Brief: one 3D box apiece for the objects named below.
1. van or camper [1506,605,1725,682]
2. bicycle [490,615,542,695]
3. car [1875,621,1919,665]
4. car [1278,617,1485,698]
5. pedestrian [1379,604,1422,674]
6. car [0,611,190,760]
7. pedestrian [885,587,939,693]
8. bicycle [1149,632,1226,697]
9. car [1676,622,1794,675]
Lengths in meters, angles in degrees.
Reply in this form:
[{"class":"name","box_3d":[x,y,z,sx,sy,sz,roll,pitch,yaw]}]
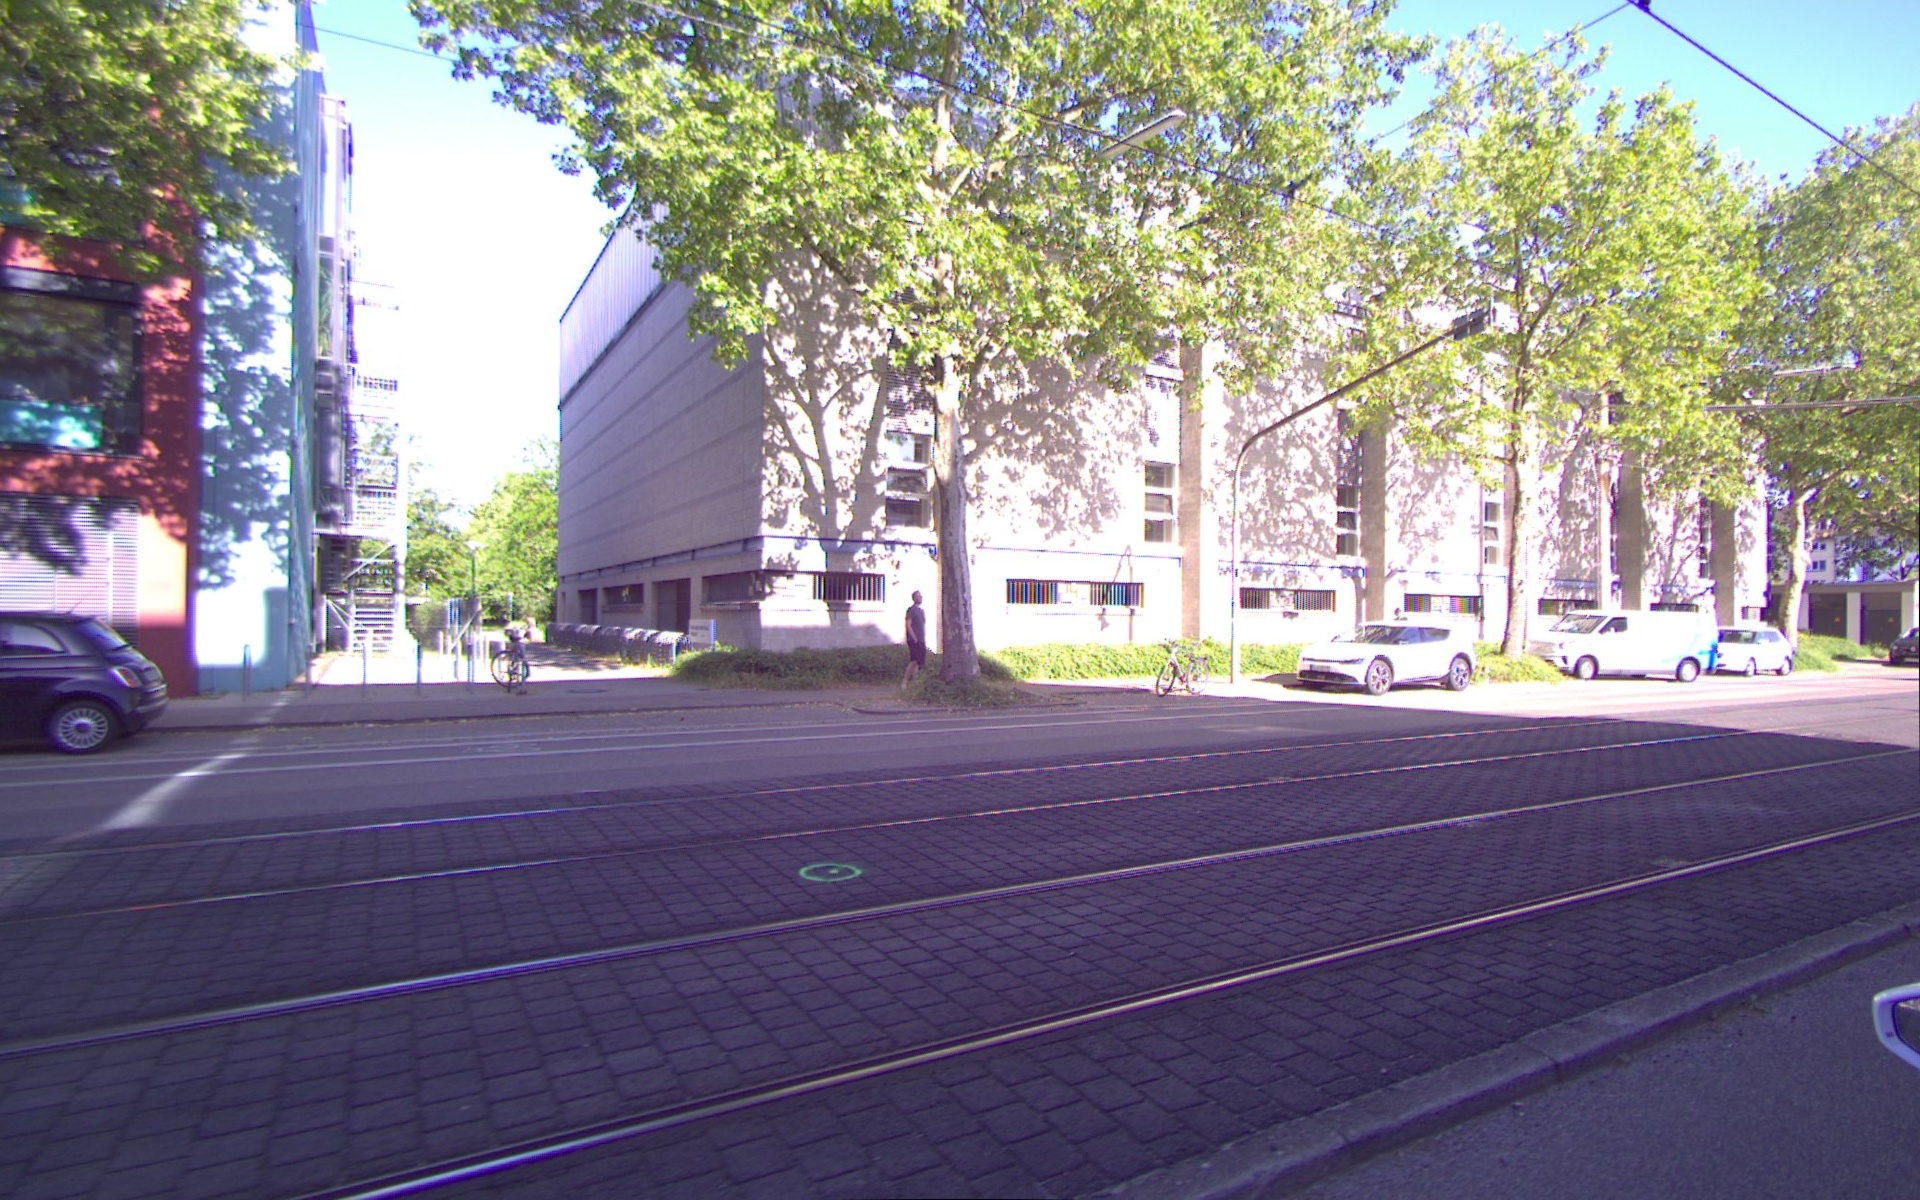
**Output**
[{"class":"van or camper","box_3d":[18.291,1.191,28.140,5.097,1.976,2.063,1,1,-11]},{"class":"bicycle","box_3d":[-7.972,0.950,18.006,0.656,1.295,1.999,0,1,-29]},{"class":"car","box_3d":[38.845,1.720,40.473,3.954,1.688,1.878,1,-1,-31]},{"class":"car","box_3d":[9.587,1.216,22.756,4.641,1.594,2.000,1,1,-32]},{"class":"pedestrian","box_3d":[11.974,1.044,27.302,0.662,1.845,0.793,0,1,-30]},{"class":"car","box_3d":[-10.543,0.882,10.776,3.421,1.473,1.500,1,1,-29]},{"class":"pedestrian","box_3d":[-0.882,0.722,18.662,0.658,1.895,0.786,2,1,28]},{"class":"bicycle","box_3d":[4.610,1.281,20.345,1.638,1.225,0.577,0,1,-37]},{"class":"car","box_3d":[24.631,1.501,31.899,4.042,1.528,1.566,1,1,-31]}]
